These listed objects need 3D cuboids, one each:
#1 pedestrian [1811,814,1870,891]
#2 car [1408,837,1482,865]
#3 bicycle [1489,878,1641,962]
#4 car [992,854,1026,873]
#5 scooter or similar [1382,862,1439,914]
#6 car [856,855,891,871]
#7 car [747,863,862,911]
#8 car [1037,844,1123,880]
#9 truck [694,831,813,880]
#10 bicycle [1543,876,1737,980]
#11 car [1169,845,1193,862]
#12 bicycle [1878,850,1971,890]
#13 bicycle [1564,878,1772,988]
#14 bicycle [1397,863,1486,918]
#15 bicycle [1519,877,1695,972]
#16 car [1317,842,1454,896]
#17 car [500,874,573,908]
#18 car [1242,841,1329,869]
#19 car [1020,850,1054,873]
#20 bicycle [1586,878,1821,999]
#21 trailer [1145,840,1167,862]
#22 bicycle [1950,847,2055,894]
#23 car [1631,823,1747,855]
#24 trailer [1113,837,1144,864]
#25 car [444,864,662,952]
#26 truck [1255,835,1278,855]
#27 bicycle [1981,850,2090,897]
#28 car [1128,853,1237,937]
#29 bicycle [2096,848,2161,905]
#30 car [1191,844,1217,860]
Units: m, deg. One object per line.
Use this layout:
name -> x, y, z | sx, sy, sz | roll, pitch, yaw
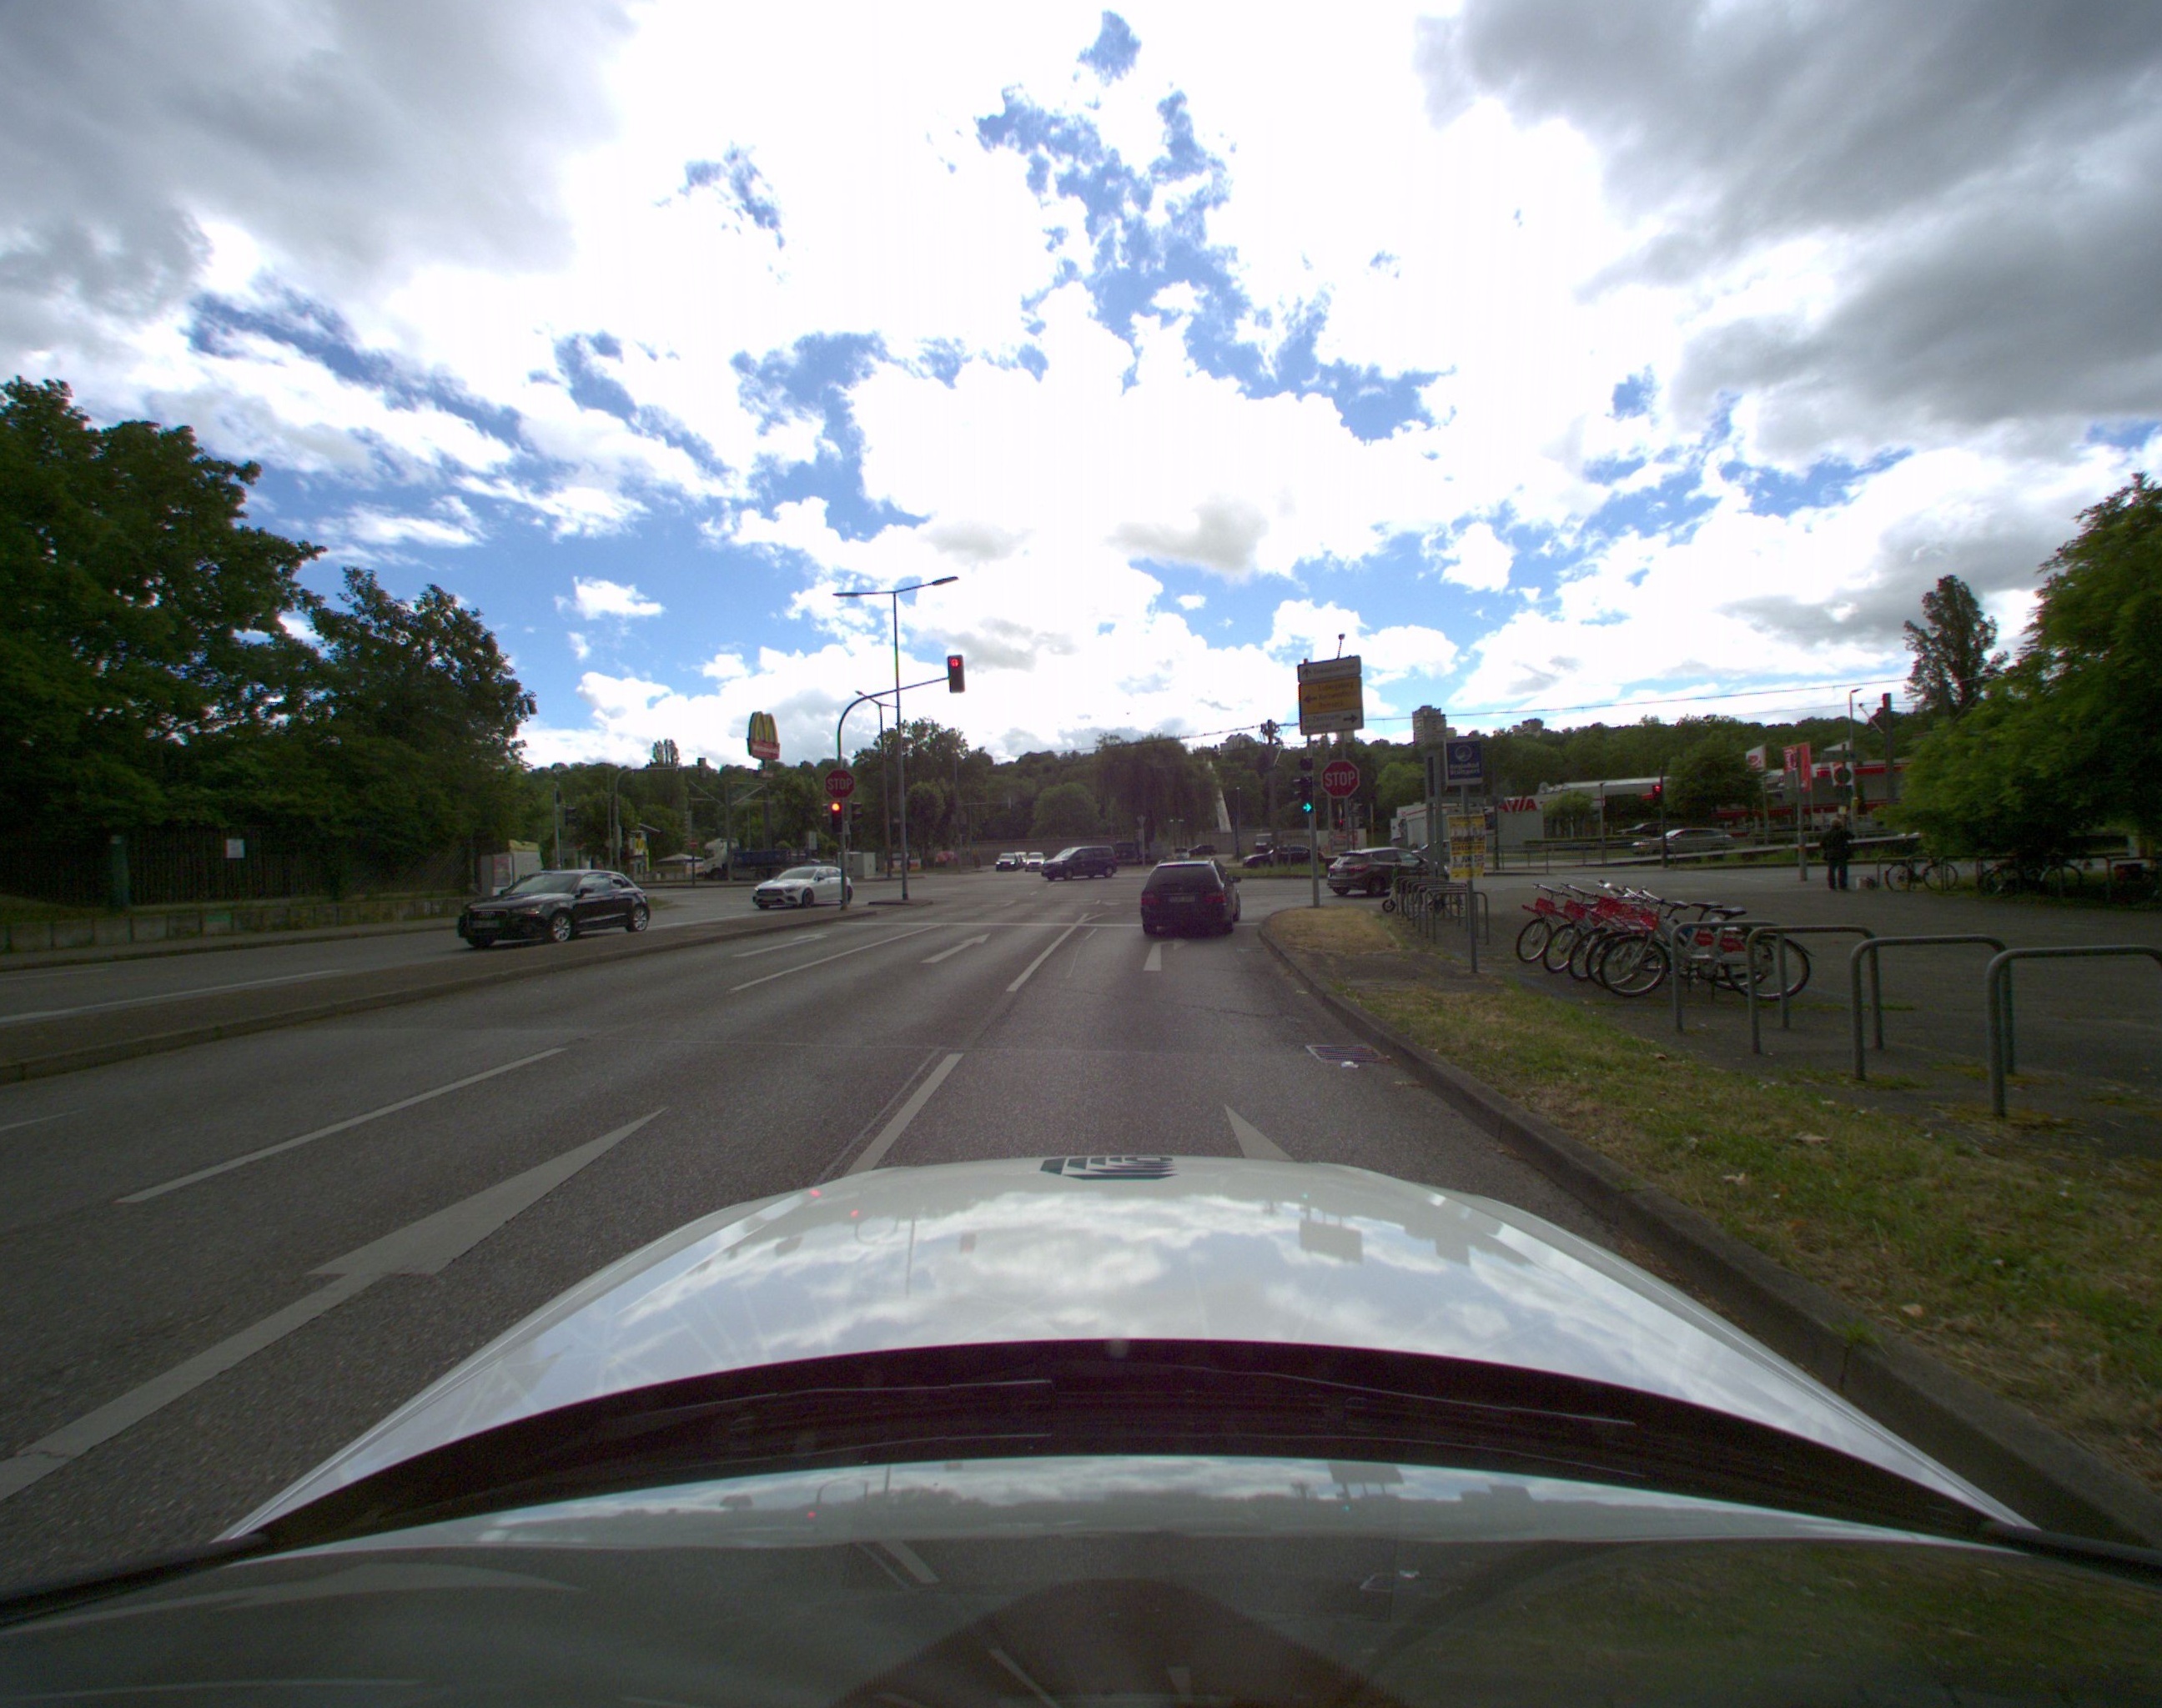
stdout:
pedestrian -> 18.506, -0.041, 19.850 | 0.689, 1.819, 0.772 | -2, 0, -18
car -> 21.791, -0.190, 48.874 | 3.742, 1.508, 1.711 | -2, 0, 14
bicycle -> 6.811, 0.928, 11.521 | 1.770, 1.111, 0.554 | -1, -1, 5
car -> -6.709, 0.842, 76.235 | 1.980, 1.640, 4.014 | -2, 0, 12
scooter or similar -> 7.759, 0.803, 19.183 | 1.173, 1.169, 0.295 | -2, 0, 12
car -> -27.529, 1.191, 108.251 | 3.963, 2.014, 2.005 | -3, -1, 9
car -> -9.617, 1.113, 28.721 | 1.588, 1.405, 4.311 | -2, 0, 16
car -> -0.036, 0.412, 44.889 | 4.574, 1.774, 1.591 | -2, 0, -32
truck -> -27.851, 0.134, 69.313 | 9.031, 3.587, 3.232 | -3, -1, 15
bicycle -> 6.420, 0.844, 9.424 | 1.770, 1.111, 0.581 | -2, -1, 5
car -> 10.458, -0.069, 84.907 | 1.980, 1.750, 4.014 | -2, 0, 13
bicycle -> 20.144, 0.381, 19.470 | 1.707, 0.898, 0.360 | -2, 0, 5
bicycle -> 6.284, 0.848, 8.778 | 1.767, 1.111, 0.456 | -2, -1, 10
bicycle -> 7.781, 0.782, 17.606 | 1.681, 1.110, 0.480 | -2, 2, 5
bicycle -> 6.546, 0.873, 10.204 | 1.770, 1.111, 0.541 | -2, -2, 5
car -> 9.965, 0.460, 26.639 | 4.155, 1.530, 1.718 | -2, 0, -24
car -> -27.807, 1.894, 41.582 | 2.990, 1.574, 1.676 | -2, 0, 23
car -> 12.653, 0.078, 50.588 | 5.025, 1.523, 1.746 | -2, 0, 6
car -> -3.961, 0.666, 73.827 | 1.980, 1.859, 4.014 | -2, 0, 13
bicycle -> 6.096, 0.825, 8.079 | 1.762, 1.111, 0.428 | -3, -1, 23
trailer -> 7.973, -0.308, 86.321 | 1.982, 2.184, 4.010 | -3, -1, 8
bicycle -> 20.133, 0.359, 17.803 | 1.708, 0.898, 0.376 | -4, 0, 5
car -> 34.564, -0.827, 46.429 | 4.888, 1.600, 2.023 | -2, 0, 13
trailer -> 4.985, -0.320, 84.379 | 2.336, 2.582, 4.937 | -3, -1, 12
car -> -10.348, 0.984, 16.342 | 1.609, 1.416, 3.899 | -2, 0, 3
truck -> 19.926, -0.934, 87.624 | 2.220, 2.013, 5.256 | -3, -1, 11
bicycle -> 19.989, 0.408, 17.068 | 1.707, 0.898, 0.376 | -2, 0, 5
car -> 2.325, 0.775, 17.589 | 1.810, 1.509, 4.591 | -2, 0, 13
bicycle -> 19.560, 0.388, 14.753 | 1.707, 0.991, 0.376 | -2, 0, 5
car -> 15.731, -0.267, 104.053 | 3.132, 1.818, 1.407 | -3, -1, 9
